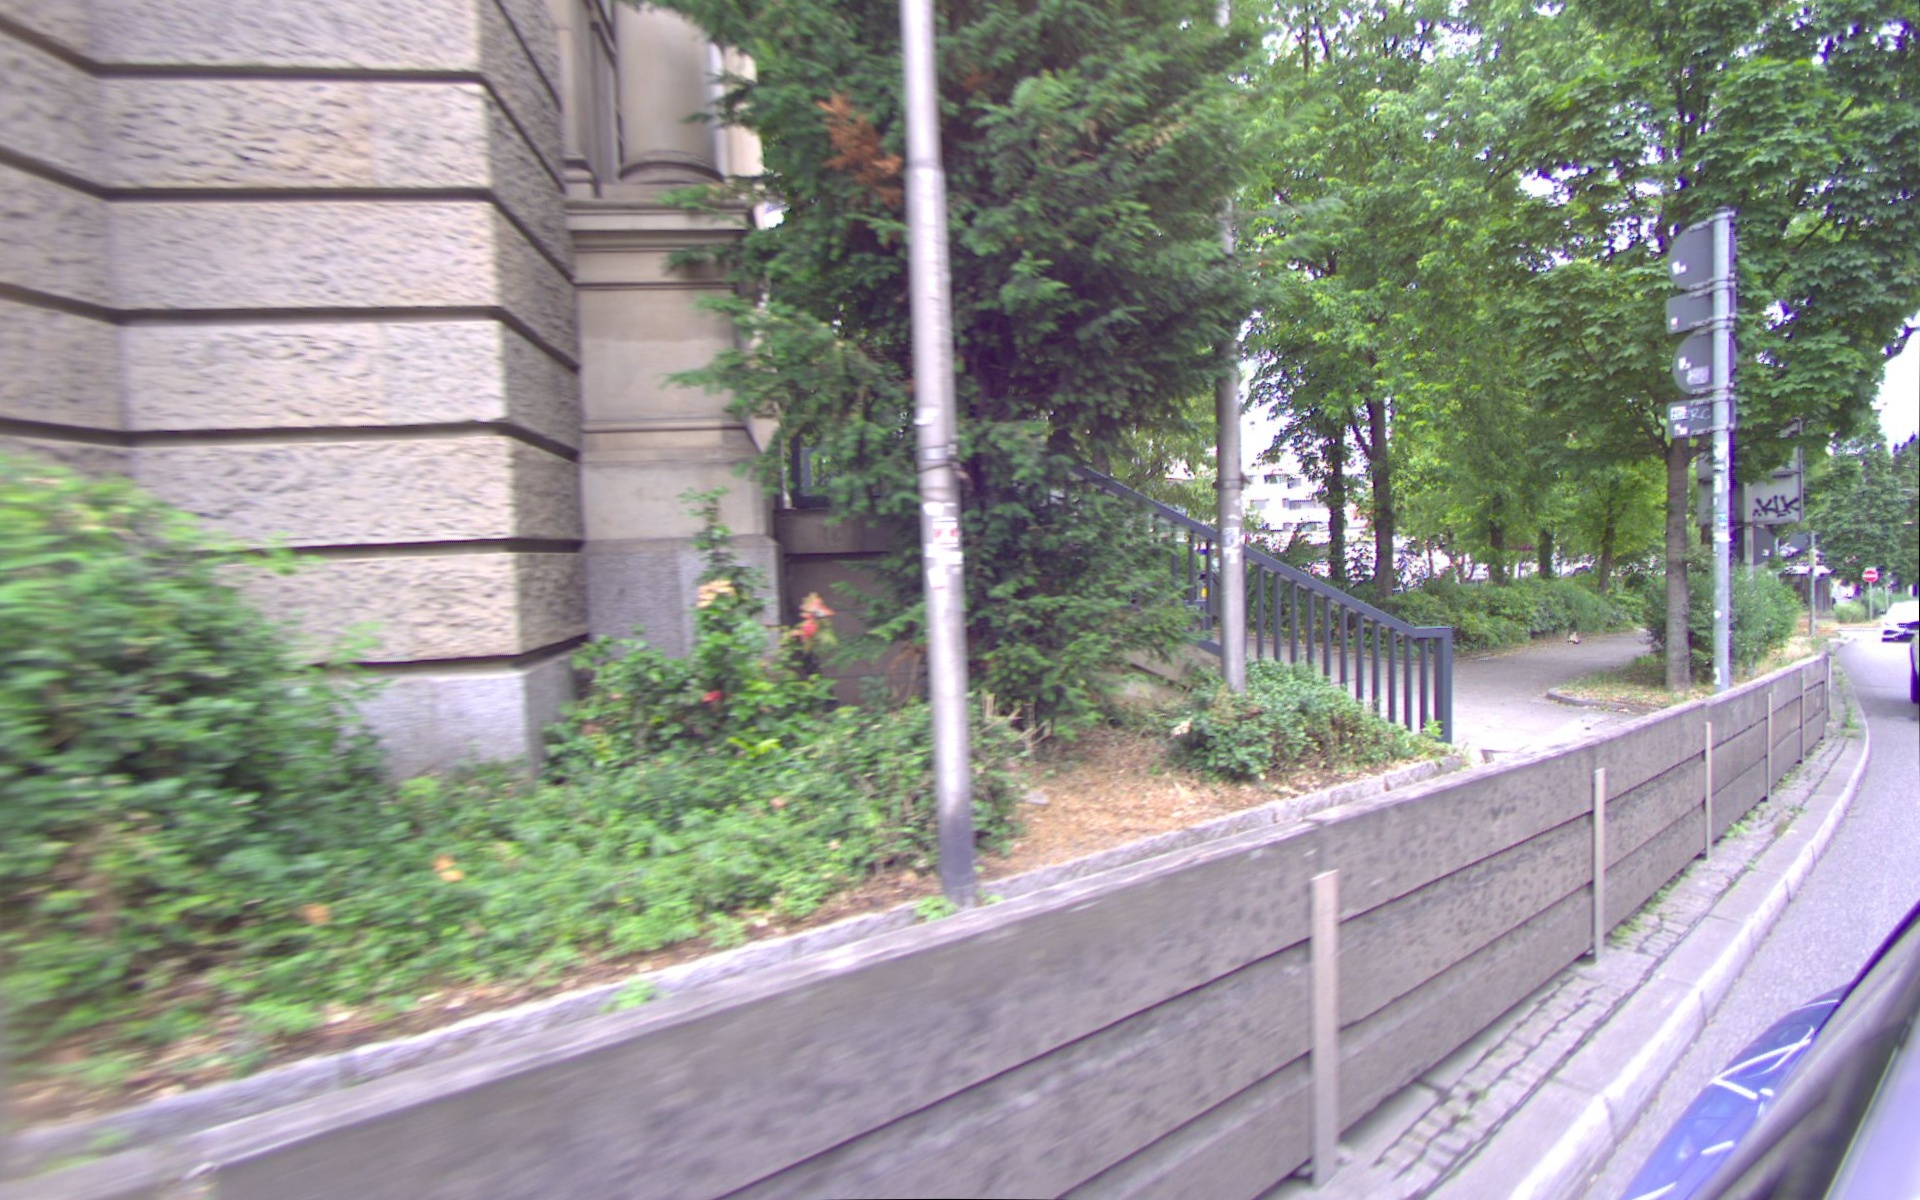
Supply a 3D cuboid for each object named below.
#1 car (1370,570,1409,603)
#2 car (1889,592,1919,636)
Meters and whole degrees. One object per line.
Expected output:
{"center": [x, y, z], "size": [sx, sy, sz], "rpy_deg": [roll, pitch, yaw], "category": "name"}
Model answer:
{"center": [30.337, -0.966, 71.586], "size": [2.099, 2.241, 4.865], "rpy_deg": [1, 1, 18], "category": "car"}
{"center": [33.841, 0.475, 35.237], "size": [3.786, 1.467, 1.820], "rpy_deg": [0, 1, -42], "category": "car"}
